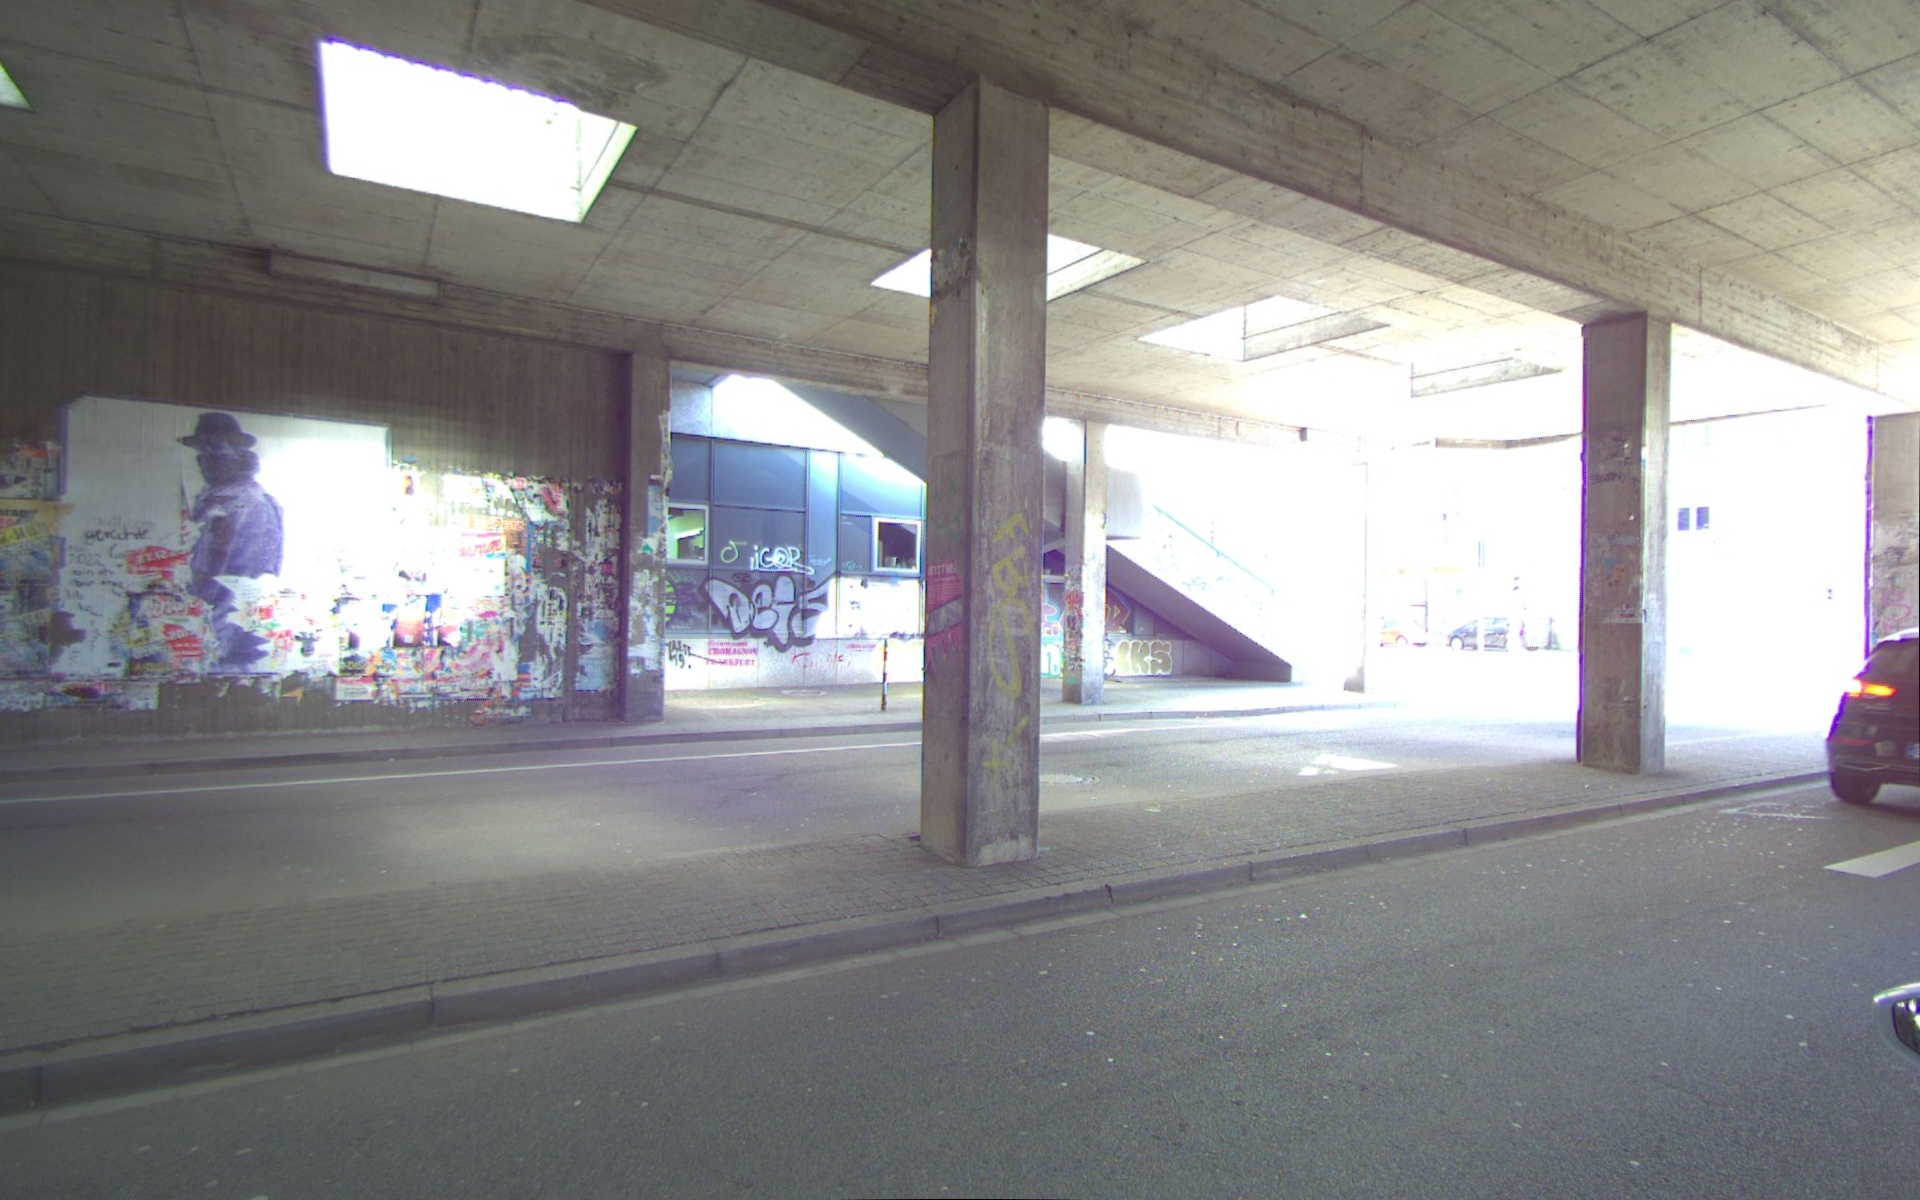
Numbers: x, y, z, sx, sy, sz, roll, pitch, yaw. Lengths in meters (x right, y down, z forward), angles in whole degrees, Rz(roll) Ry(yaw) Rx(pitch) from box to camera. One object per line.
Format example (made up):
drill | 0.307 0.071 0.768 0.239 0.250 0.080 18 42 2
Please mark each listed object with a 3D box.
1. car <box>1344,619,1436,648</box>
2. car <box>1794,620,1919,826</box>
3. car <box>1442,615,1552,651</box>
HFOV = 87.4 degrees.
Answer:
car | 22.491 1.725 52.671 2.163 1.392 3.971 1 -1 -28
car | 8.777 0.943 8.213 4.131 1.466 1.770 1 0 -32
car | 25.413 1.545 47.660 2.240 1.571 4.111 1 -1 -29
